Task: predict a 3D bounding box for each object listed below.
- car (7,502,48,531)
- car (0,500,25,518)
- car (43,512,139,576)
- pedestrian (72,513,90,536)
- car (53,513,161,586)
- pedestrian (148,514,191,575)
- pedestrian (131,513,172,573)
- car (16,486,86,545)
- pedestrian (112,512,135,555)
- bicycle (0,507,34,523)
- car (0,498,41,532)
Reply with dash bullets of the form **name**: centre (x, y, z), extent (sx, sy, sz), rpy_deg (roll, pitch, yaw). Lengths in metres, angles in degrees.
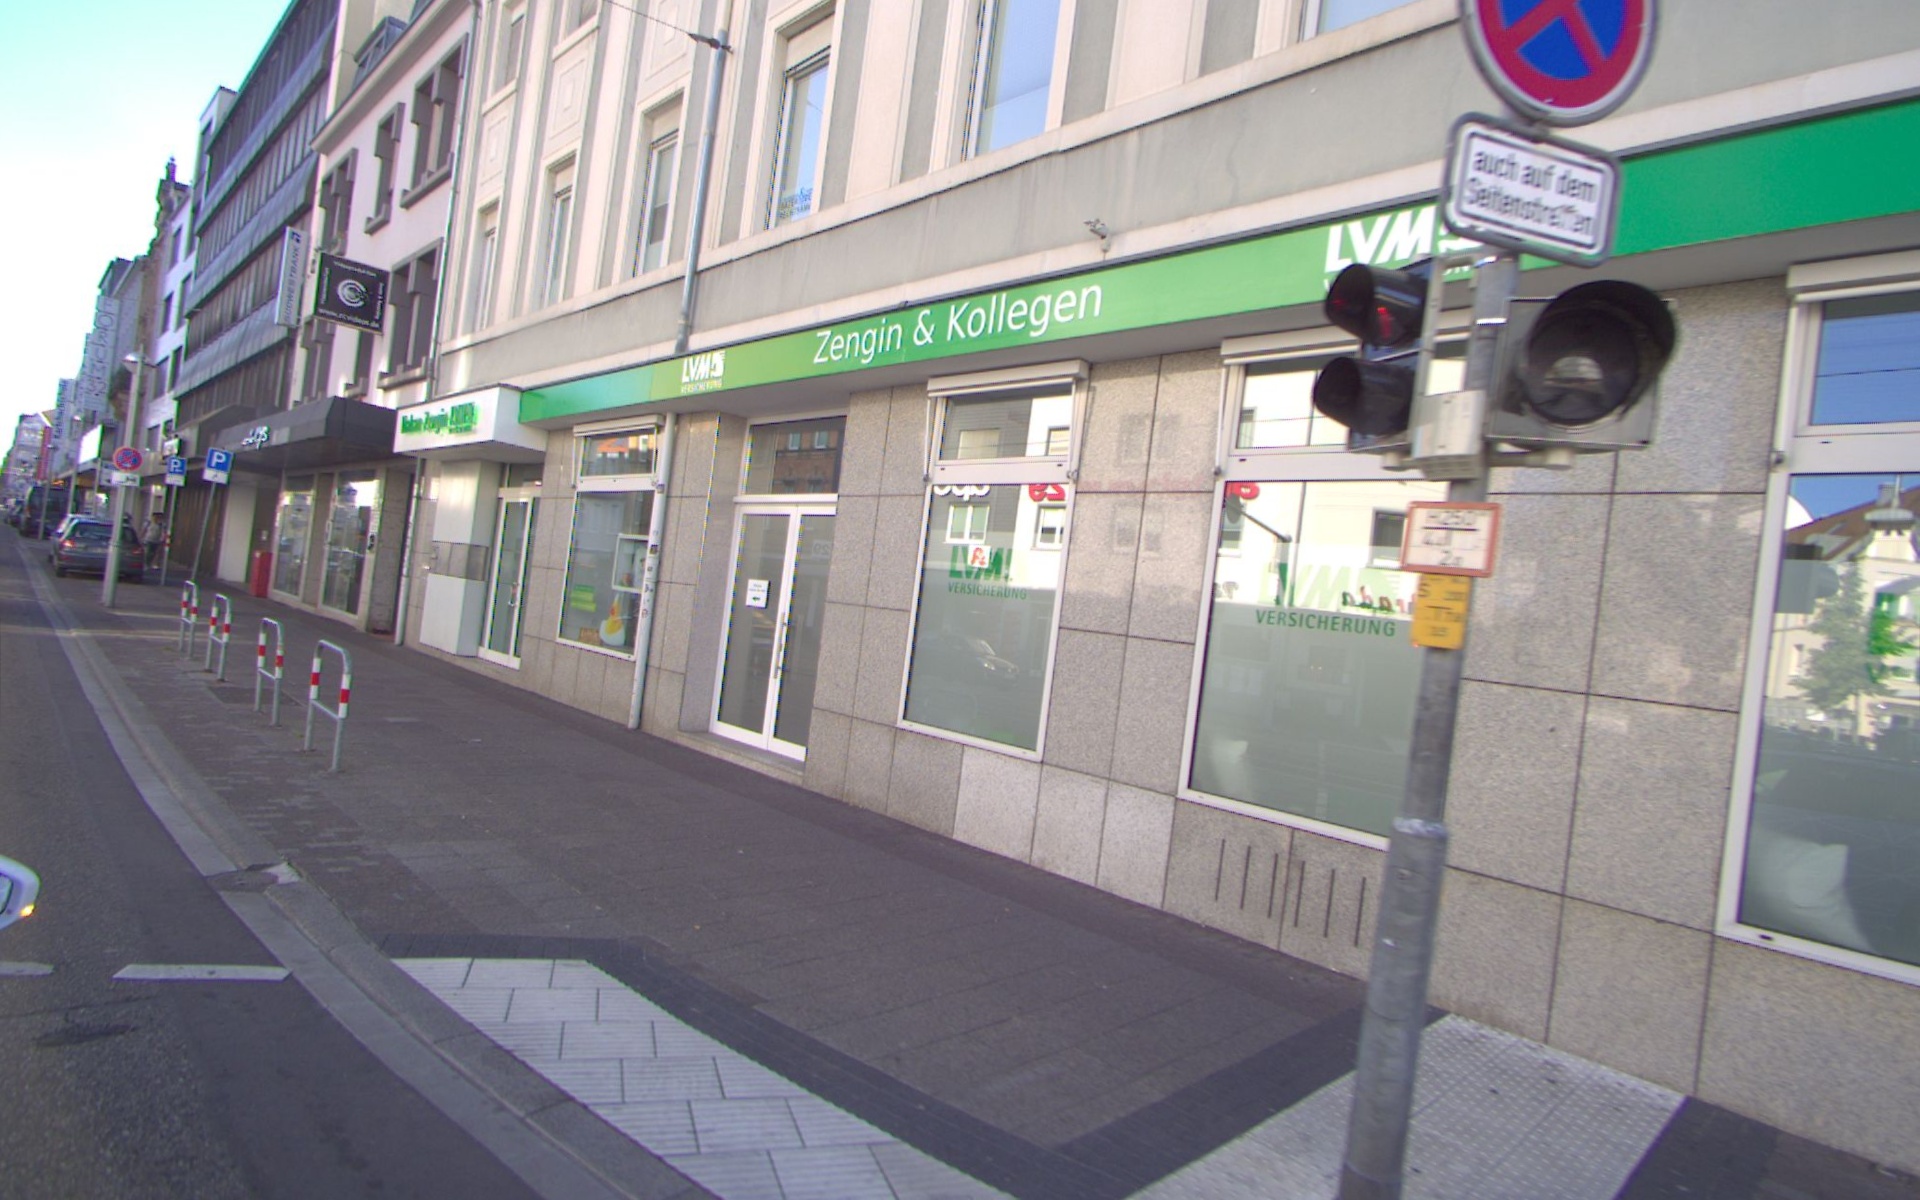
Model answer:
- **car**: centre (-58.932, -5.300, 63.541), extent (1.747, 1.517, 3.707), rpy_deg (8, -1, -44)
- **car**: centre (-104.731, -10.047, 111.097), extent (1.989, 1.560, 3.950), rpy_deg (9, -3, -44)
- **car**: centre (-25.073, -1.636, 28.976), extent (1.741, 1.479, 4.242), rpy_deg (8, -1, -44)
- **pedestrian**: centre (-59.393, -5.072, 67.954), extent (0.733, 1.419, 0.971), rpy_deg (7, -1, -45)
- **car**: centre (-21.539, -1.308, 25.346), extent (1.842, 1.480, 4.251), rpy_deg (7, -1, -42)
- **pedestrian**: centre (-26.127, -1.840, 33.234), extent (0.920, 1.866, 0.987), rpy_deg (5, 1, -44)
- **pedestrian**: centre (-25.659, -1.812, 31.934), extent (0.777, 1.773, 1.019), rpy_deg (7, 0, -44)
- **car**: centre (-44.616, -4.155, 49.356), extent (2.165, 2.492, 5.293), rpy_deg (6, 1, -45)
- **pedestrian**: centre (-35.344, -2.813, 42.480), extent (0.942, 1.736, 0.554), rpy_deg (7, 1, 44)
- **bicycle**: centre (-85.041, -7.667, 90.690), extent (0.677, 1.110, 2.156), rpy_deg (7, -1, 43)
- **car**: centre (-63.269, -5.733, 67.755), extent (1.817, 1.892, 3.707), rpy_deg (9, -2, -44)
